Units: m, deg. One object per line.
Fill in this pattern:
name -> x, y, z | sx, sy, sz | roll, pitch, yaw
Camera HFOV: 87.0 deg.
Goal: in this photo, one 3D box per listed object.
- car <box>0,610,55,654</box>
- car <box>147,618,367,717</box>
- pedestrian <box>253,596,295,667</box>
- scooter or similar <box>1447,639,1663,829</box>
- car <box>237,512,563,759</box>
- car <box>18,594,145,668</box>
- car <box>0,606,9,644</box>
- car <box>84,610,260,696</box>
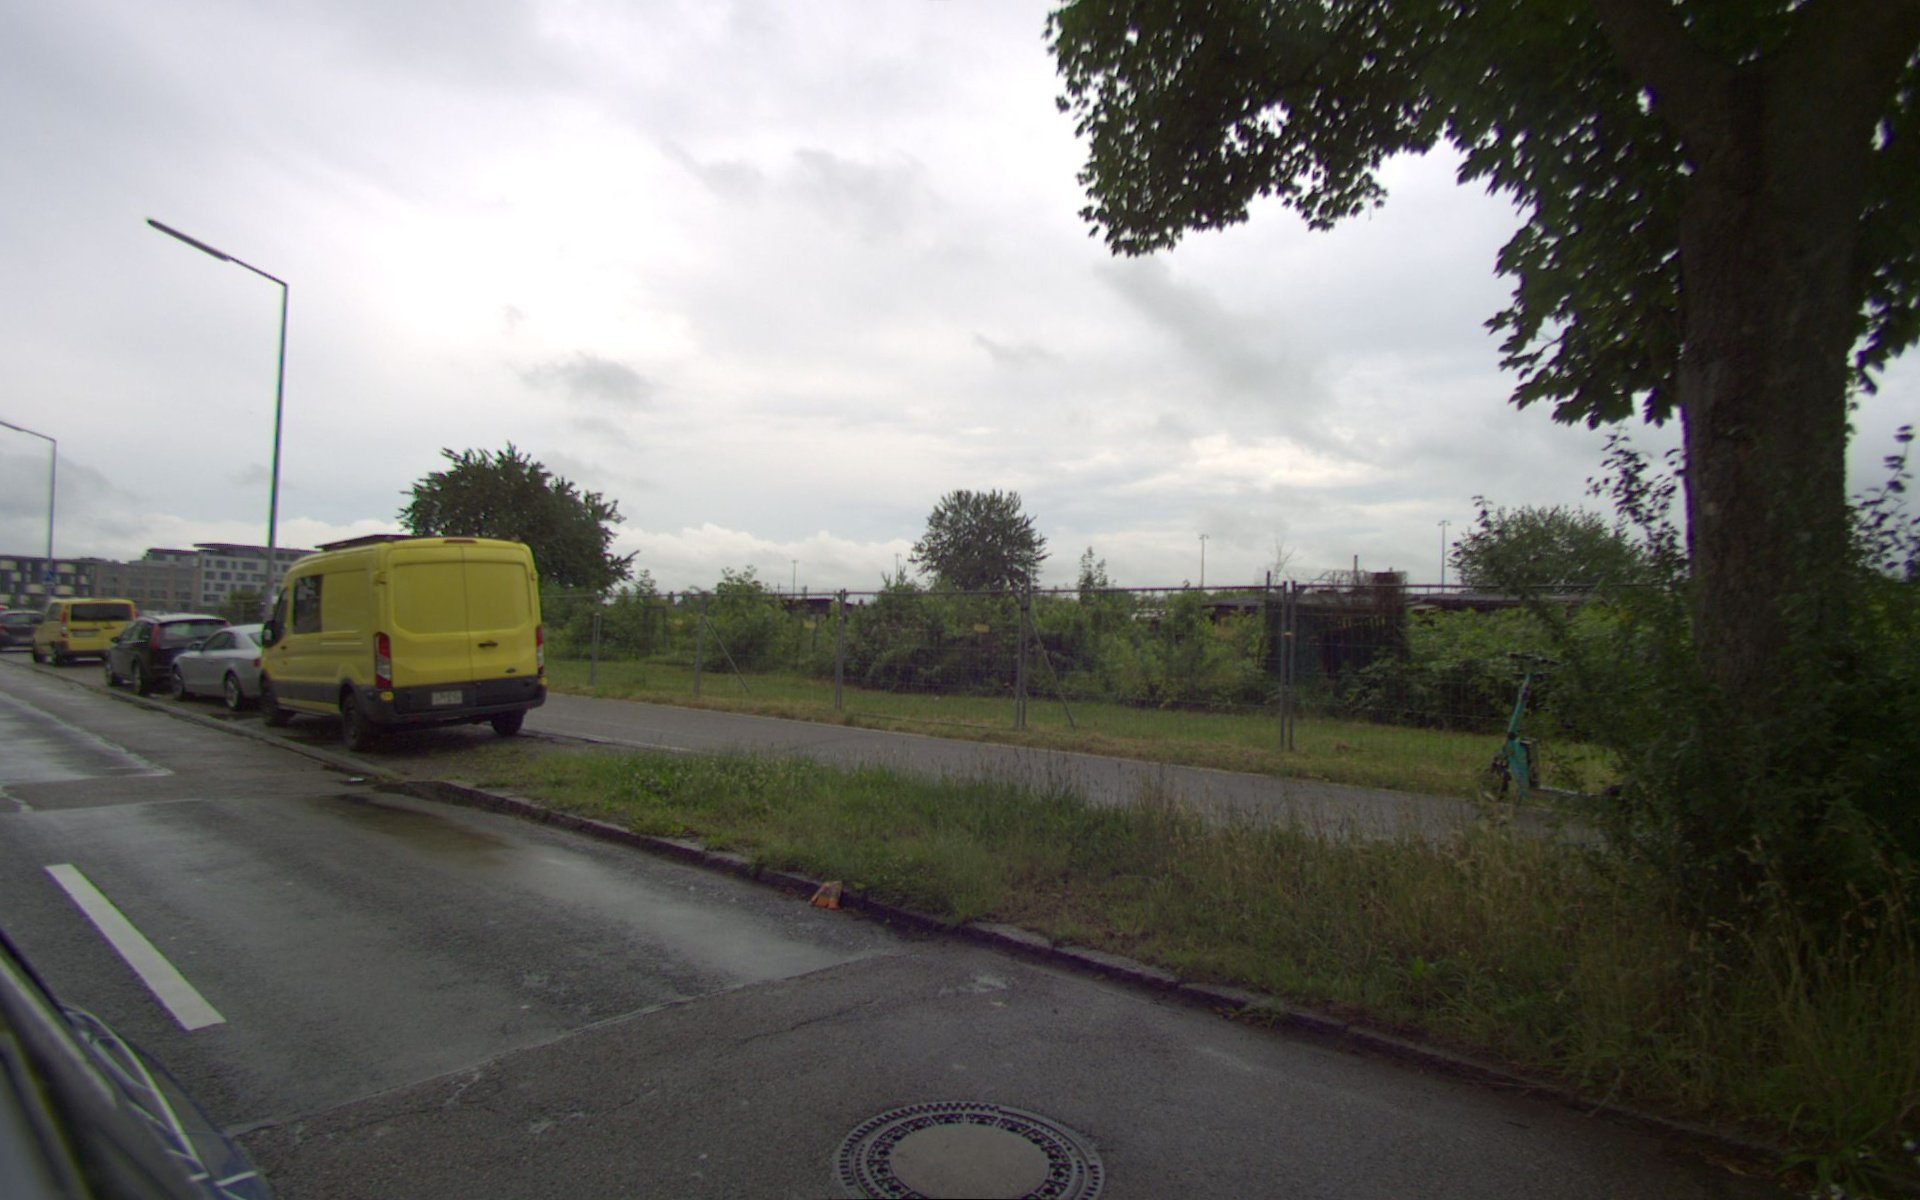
car -> -35.513, 1.186, 38.060 | 4.031, 1.573, 1.785 | -1, -1, 42
car -> -12.680, 1.085, 18.104 | 5.336, 1.445, 1.989 | 0, 0, 41
pedestrian -> -19.938, 0.911, 29.415 | 0.980, 2.029, 0.734 | -1, -3, 42
scooter or similar -> 4.652, 1.001, 7.973 | 1.411, 1.350, 0.430 | -1, -4, 42
car -> -7.937, 0.421, 13.972 | 6.081, 2.715, 2.168 | -1, -1, 43
car -> -25.909, 0.861, 29.763 | 6.062, 1.971, 1.996 | 0, -1, 41
car -> -47.953, 1.187, 49.370 | 4.331, 1.781, 1.919 | -1, -3, 43
car -> -16.811, 1.026, 21.484 | 5.014, 1.606, 1.973 | 0, -1, 40
